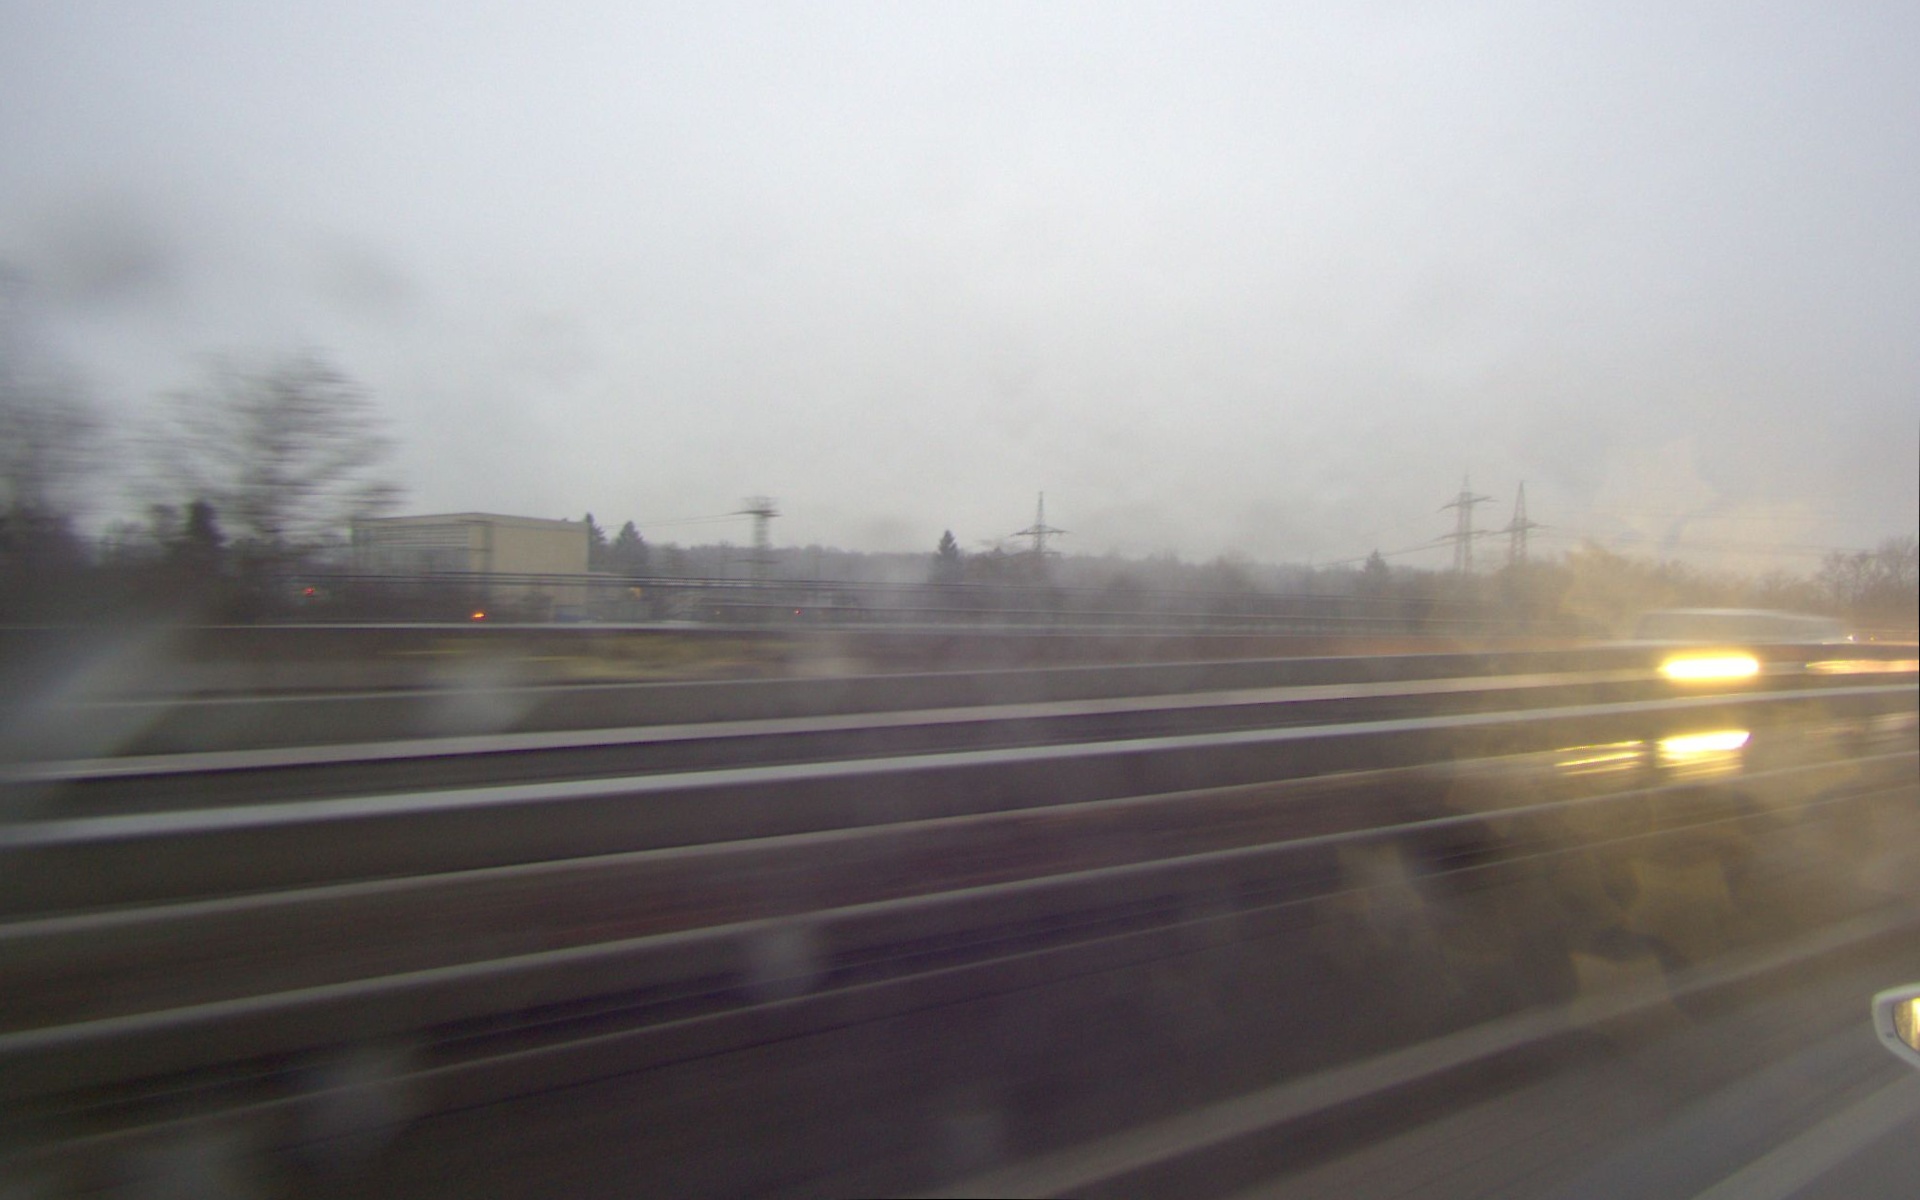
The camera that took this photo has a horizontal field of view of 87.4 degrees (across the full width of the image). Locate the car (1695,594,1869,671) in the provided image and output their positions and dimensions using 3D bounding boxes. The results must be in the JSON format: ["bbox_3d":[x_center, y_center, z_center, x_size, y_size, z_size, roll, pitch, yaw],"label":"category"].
[{"bbox_3d":[18.450,0.678,22.528,3.877,1.587,1.846,0,0,-31],"label":"car"}]

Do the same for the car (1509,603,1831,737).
[{"bbox_3d":[9.704,0.852,13.671,4.321,1.522,1.955,1,1,-30],"label":"car"}]
